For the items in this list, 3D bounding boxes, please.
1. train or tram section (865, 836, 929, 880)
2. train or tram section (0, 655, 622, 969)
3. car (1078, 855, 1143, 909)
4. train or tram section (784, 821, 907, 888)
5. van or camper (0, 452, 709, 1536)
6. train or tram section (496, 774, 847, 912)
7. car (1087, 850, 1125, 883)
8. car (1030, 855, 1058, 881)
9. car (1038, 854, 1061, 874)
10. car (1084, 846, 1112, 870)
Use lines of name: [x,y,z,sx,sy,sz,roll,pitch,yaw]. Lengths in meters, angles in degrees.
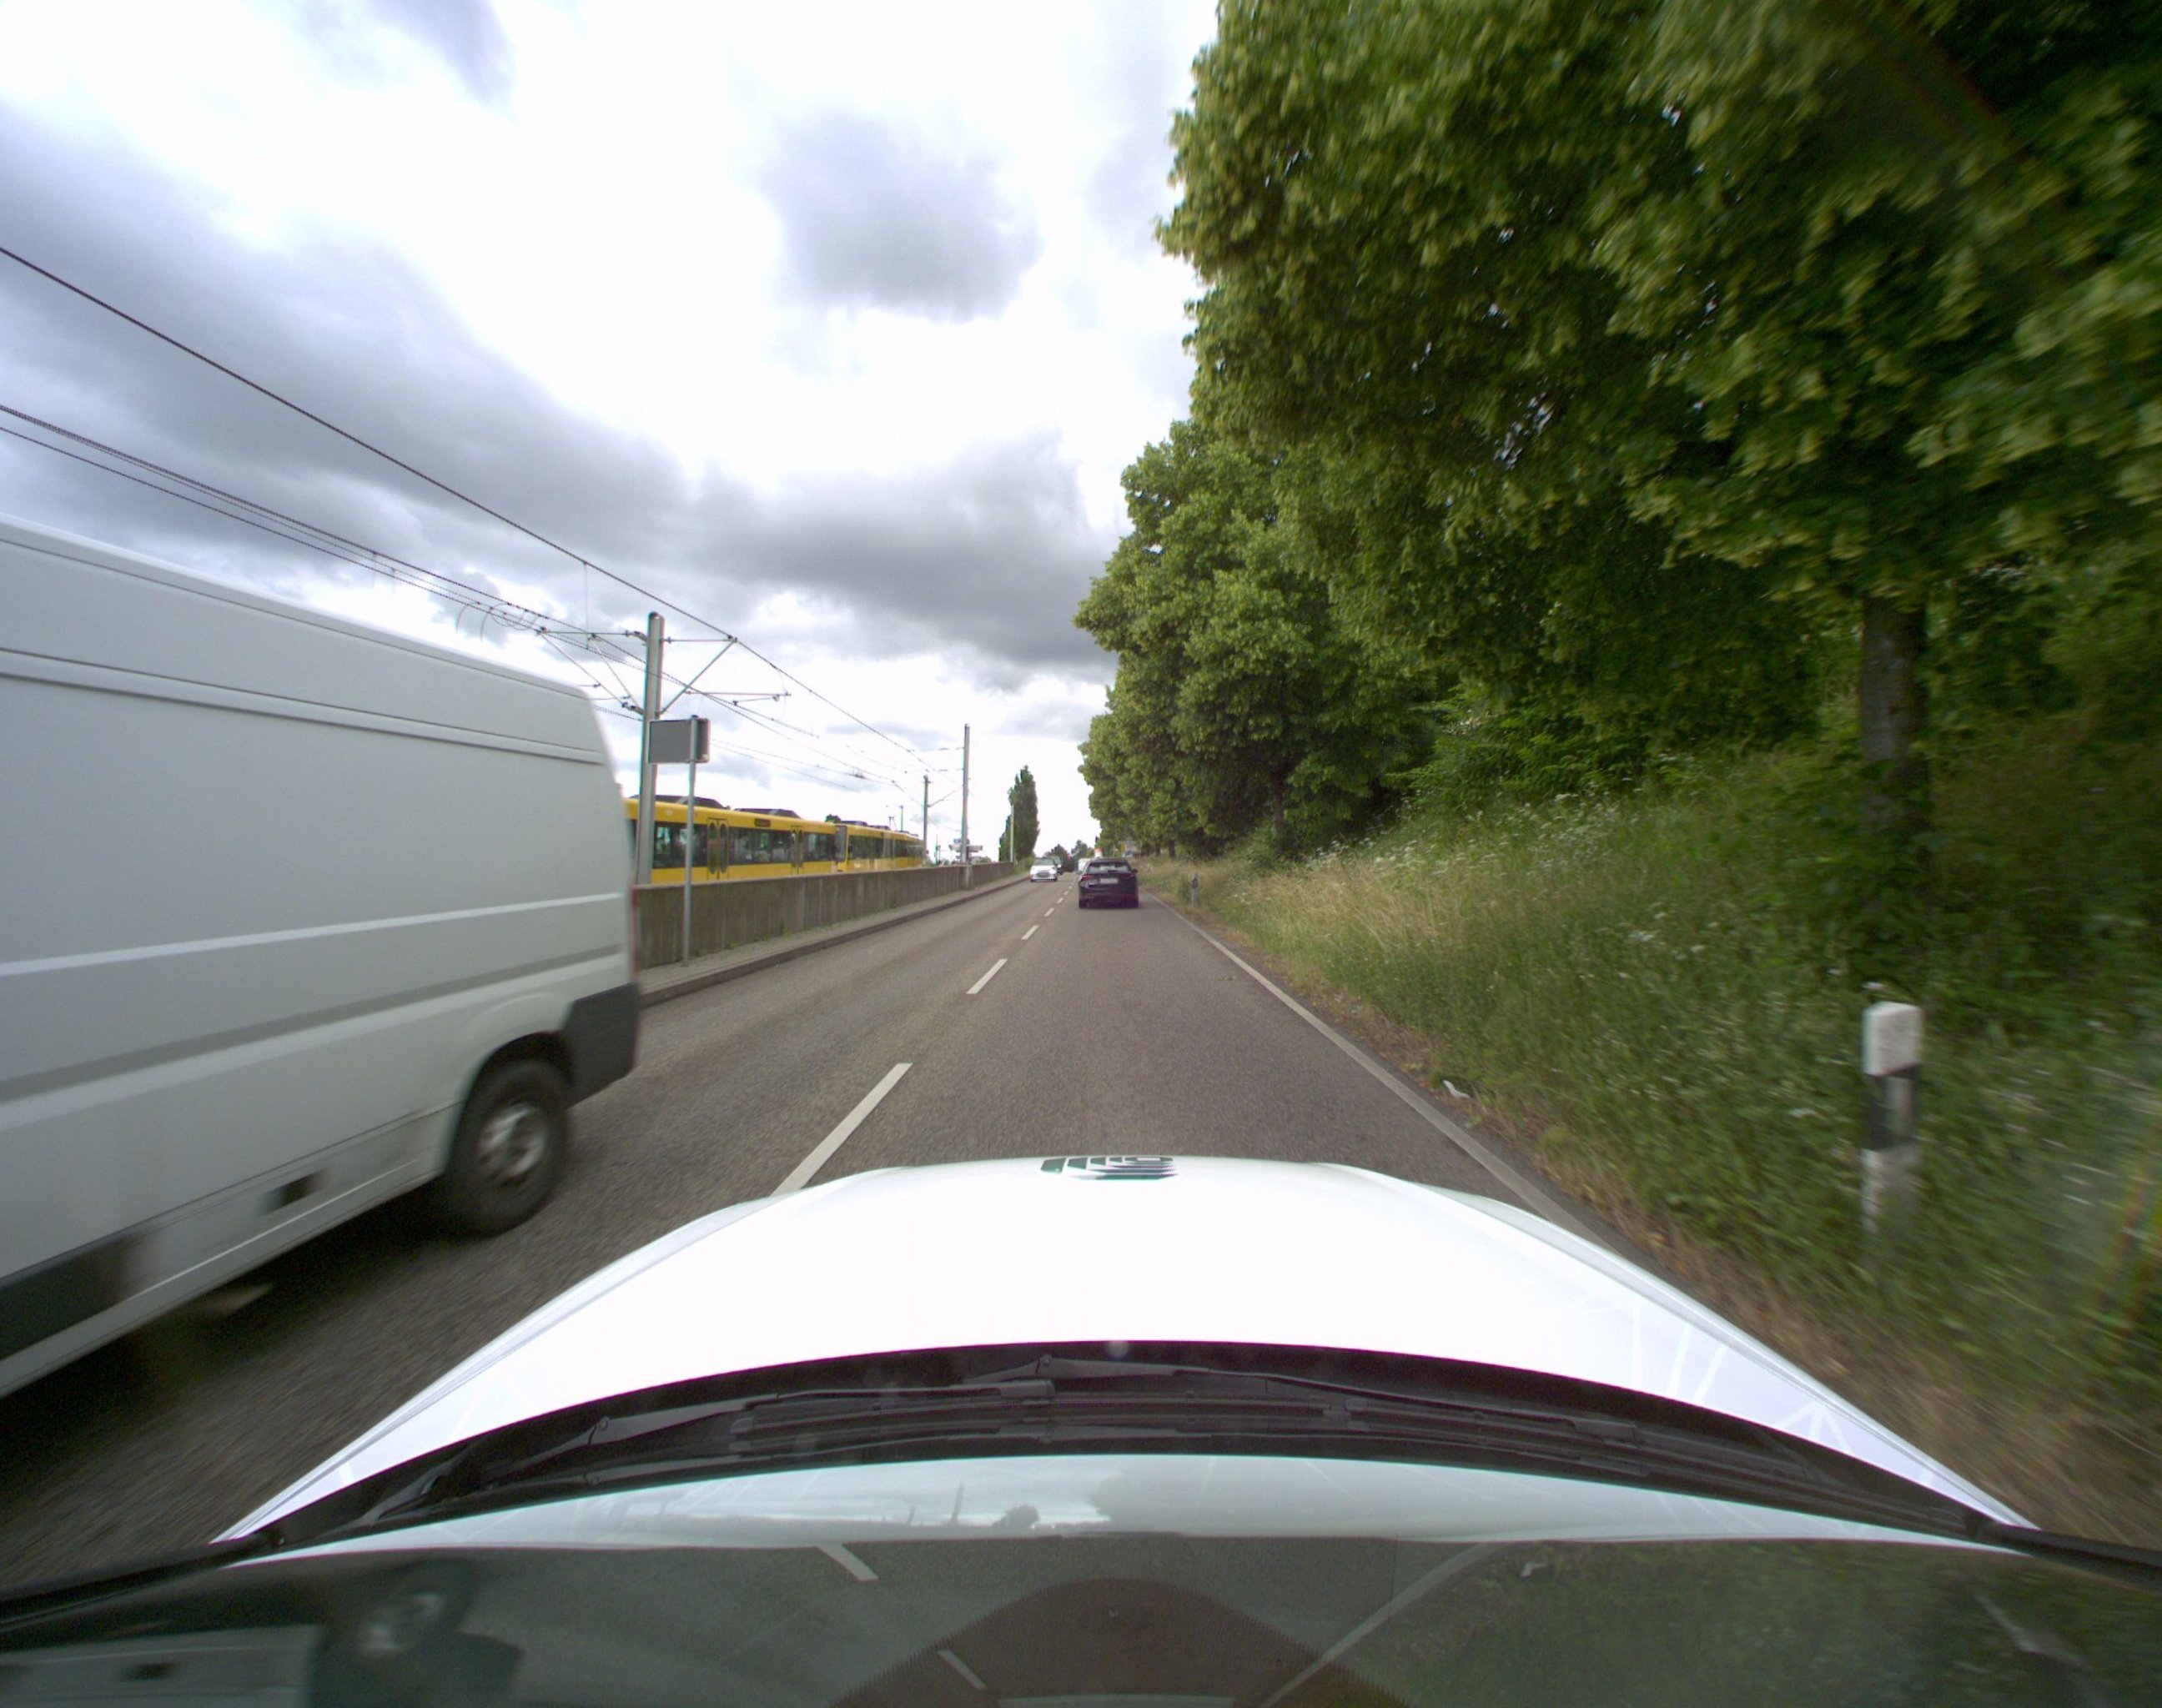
train or tram section: [-14.516,0.408,65.868,2.793,3.022,18.838,-1,-1,-6]
train or tram section: [-12.072,-0.378,9.115,2.801,3.117,18.917,-1,-1,1]
car: [0.876,0.802,24.848,1.775,1.468,4.001,-2,0,1]
train or tram section: [-12.887,0.147,47.075,2.796,3.025,19.277,-1,-1,-4]
van or camper: [-3.427,0.318,1.987,2.075,2.396,6.138,-1,0,1]
train or tram section: [-12.043,-0.128,28.054,2.796,3.077,19.090,-1,-1,-1]
car: [1.403,0.669,45.367,1.986,1.753,4.001,-2,0,1]
car: [-2.370,0.874,52.987,1.727,1.572,3.997,-2,0,-2]
car: [-2.858,0.887,74.271,1.904,1.768,4.305,-1,0,0]
car: [1.289,0.335,61.581,1.986,1.740,4.001,-1,-1,1]
